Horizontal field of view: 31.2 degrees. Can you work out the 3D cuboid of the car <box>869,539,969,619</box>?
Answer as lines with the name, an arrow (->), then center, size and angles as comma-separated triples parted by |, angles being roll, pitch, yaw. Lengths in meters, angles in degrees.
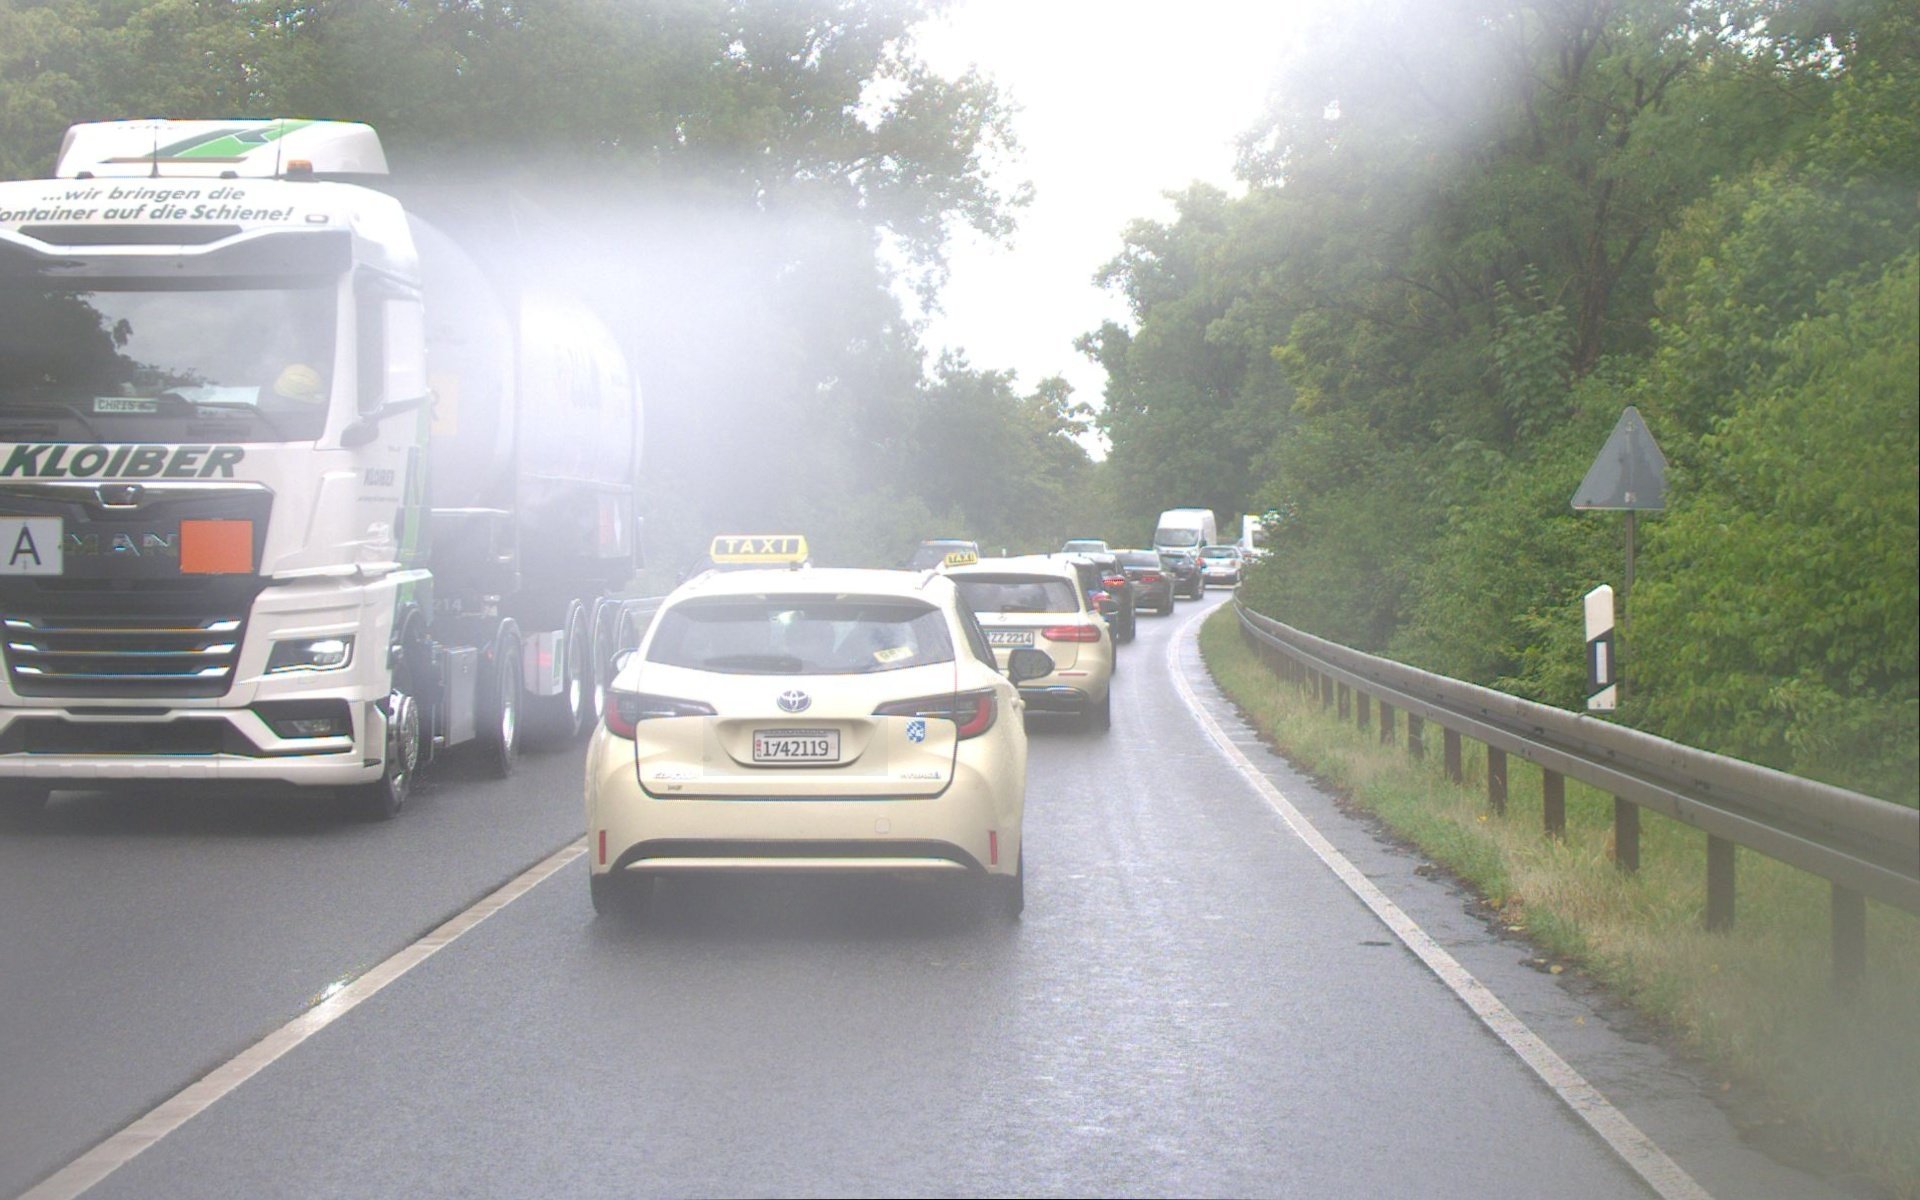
car -> -0.858, -0.470, 74.086 | 1.847, 1.638, 4.298 | 1, 1, 3

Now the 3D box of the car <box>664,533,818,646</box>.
car -> -3.055, -0.157, 48.598 | 1.707, 1.510, 3.912 | 1, 0, 3

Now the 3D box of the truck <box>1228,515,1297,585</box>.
truck -> 12.092, -1.966, 137.948 | 2.550, 2.704, 7.534 | 1, 0, 4

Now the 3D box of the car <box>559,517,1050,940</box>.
car -> -0.612, 0.474, 15.054 | 1.833, 1.575, 4.157 | 1, 0, -1

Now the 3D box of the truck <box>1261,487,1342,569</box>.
truck -> 15.978, -3.340, 160.451 | 3.108, 3.668, 6.997 | 1, 0, 10

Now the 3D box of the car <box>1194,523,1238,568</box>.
car -> 11.907, -2.537, 159.797 | 1.994, 2.007, 3.999 | 1, 0, 5

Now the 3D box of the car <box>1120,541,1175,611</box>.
car -> 4.193, -0.535, 76.967 | 1.167, 1.541, 2.604 | 1, 0, 2

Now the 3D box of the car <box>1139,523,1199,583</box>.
car -> 5.811, -1.298, 95.792 | 1.616, 1.607, 3.621 | 1, 0, 3

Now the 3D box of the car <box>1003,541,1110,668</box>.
car -> 1.230, 0.047, 44.007 | 1.300, 1.541, 3.260 | 1, 0, 1

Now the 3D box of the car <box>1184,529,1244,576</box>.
car -> 8.572, -1.588, 115.930 | 1.770, 1.541, 3.813 | 1, 0, 8

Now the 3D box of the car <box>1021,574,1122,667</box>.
car -> 1.943, 0.332, 59.056 | 1.611, 1.541, 3.813 | 0, 0, 4

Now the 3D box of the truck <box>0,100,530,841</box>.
truck -> -4.162, -0.688, 20.430 | 2.536, 3.812, 5.245 | 1, 0, 0

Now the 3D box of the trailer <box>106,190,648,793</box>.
trailer -> -4.075, -0.714, 25.825 | 2.536, 3.812, 7.791 | 1, 0, 1

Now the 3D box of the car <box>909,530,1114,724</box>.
car -> 0.501, 0.216, 30.273 | 1.667, 1.575, 3.892 | 1, 0, 2
